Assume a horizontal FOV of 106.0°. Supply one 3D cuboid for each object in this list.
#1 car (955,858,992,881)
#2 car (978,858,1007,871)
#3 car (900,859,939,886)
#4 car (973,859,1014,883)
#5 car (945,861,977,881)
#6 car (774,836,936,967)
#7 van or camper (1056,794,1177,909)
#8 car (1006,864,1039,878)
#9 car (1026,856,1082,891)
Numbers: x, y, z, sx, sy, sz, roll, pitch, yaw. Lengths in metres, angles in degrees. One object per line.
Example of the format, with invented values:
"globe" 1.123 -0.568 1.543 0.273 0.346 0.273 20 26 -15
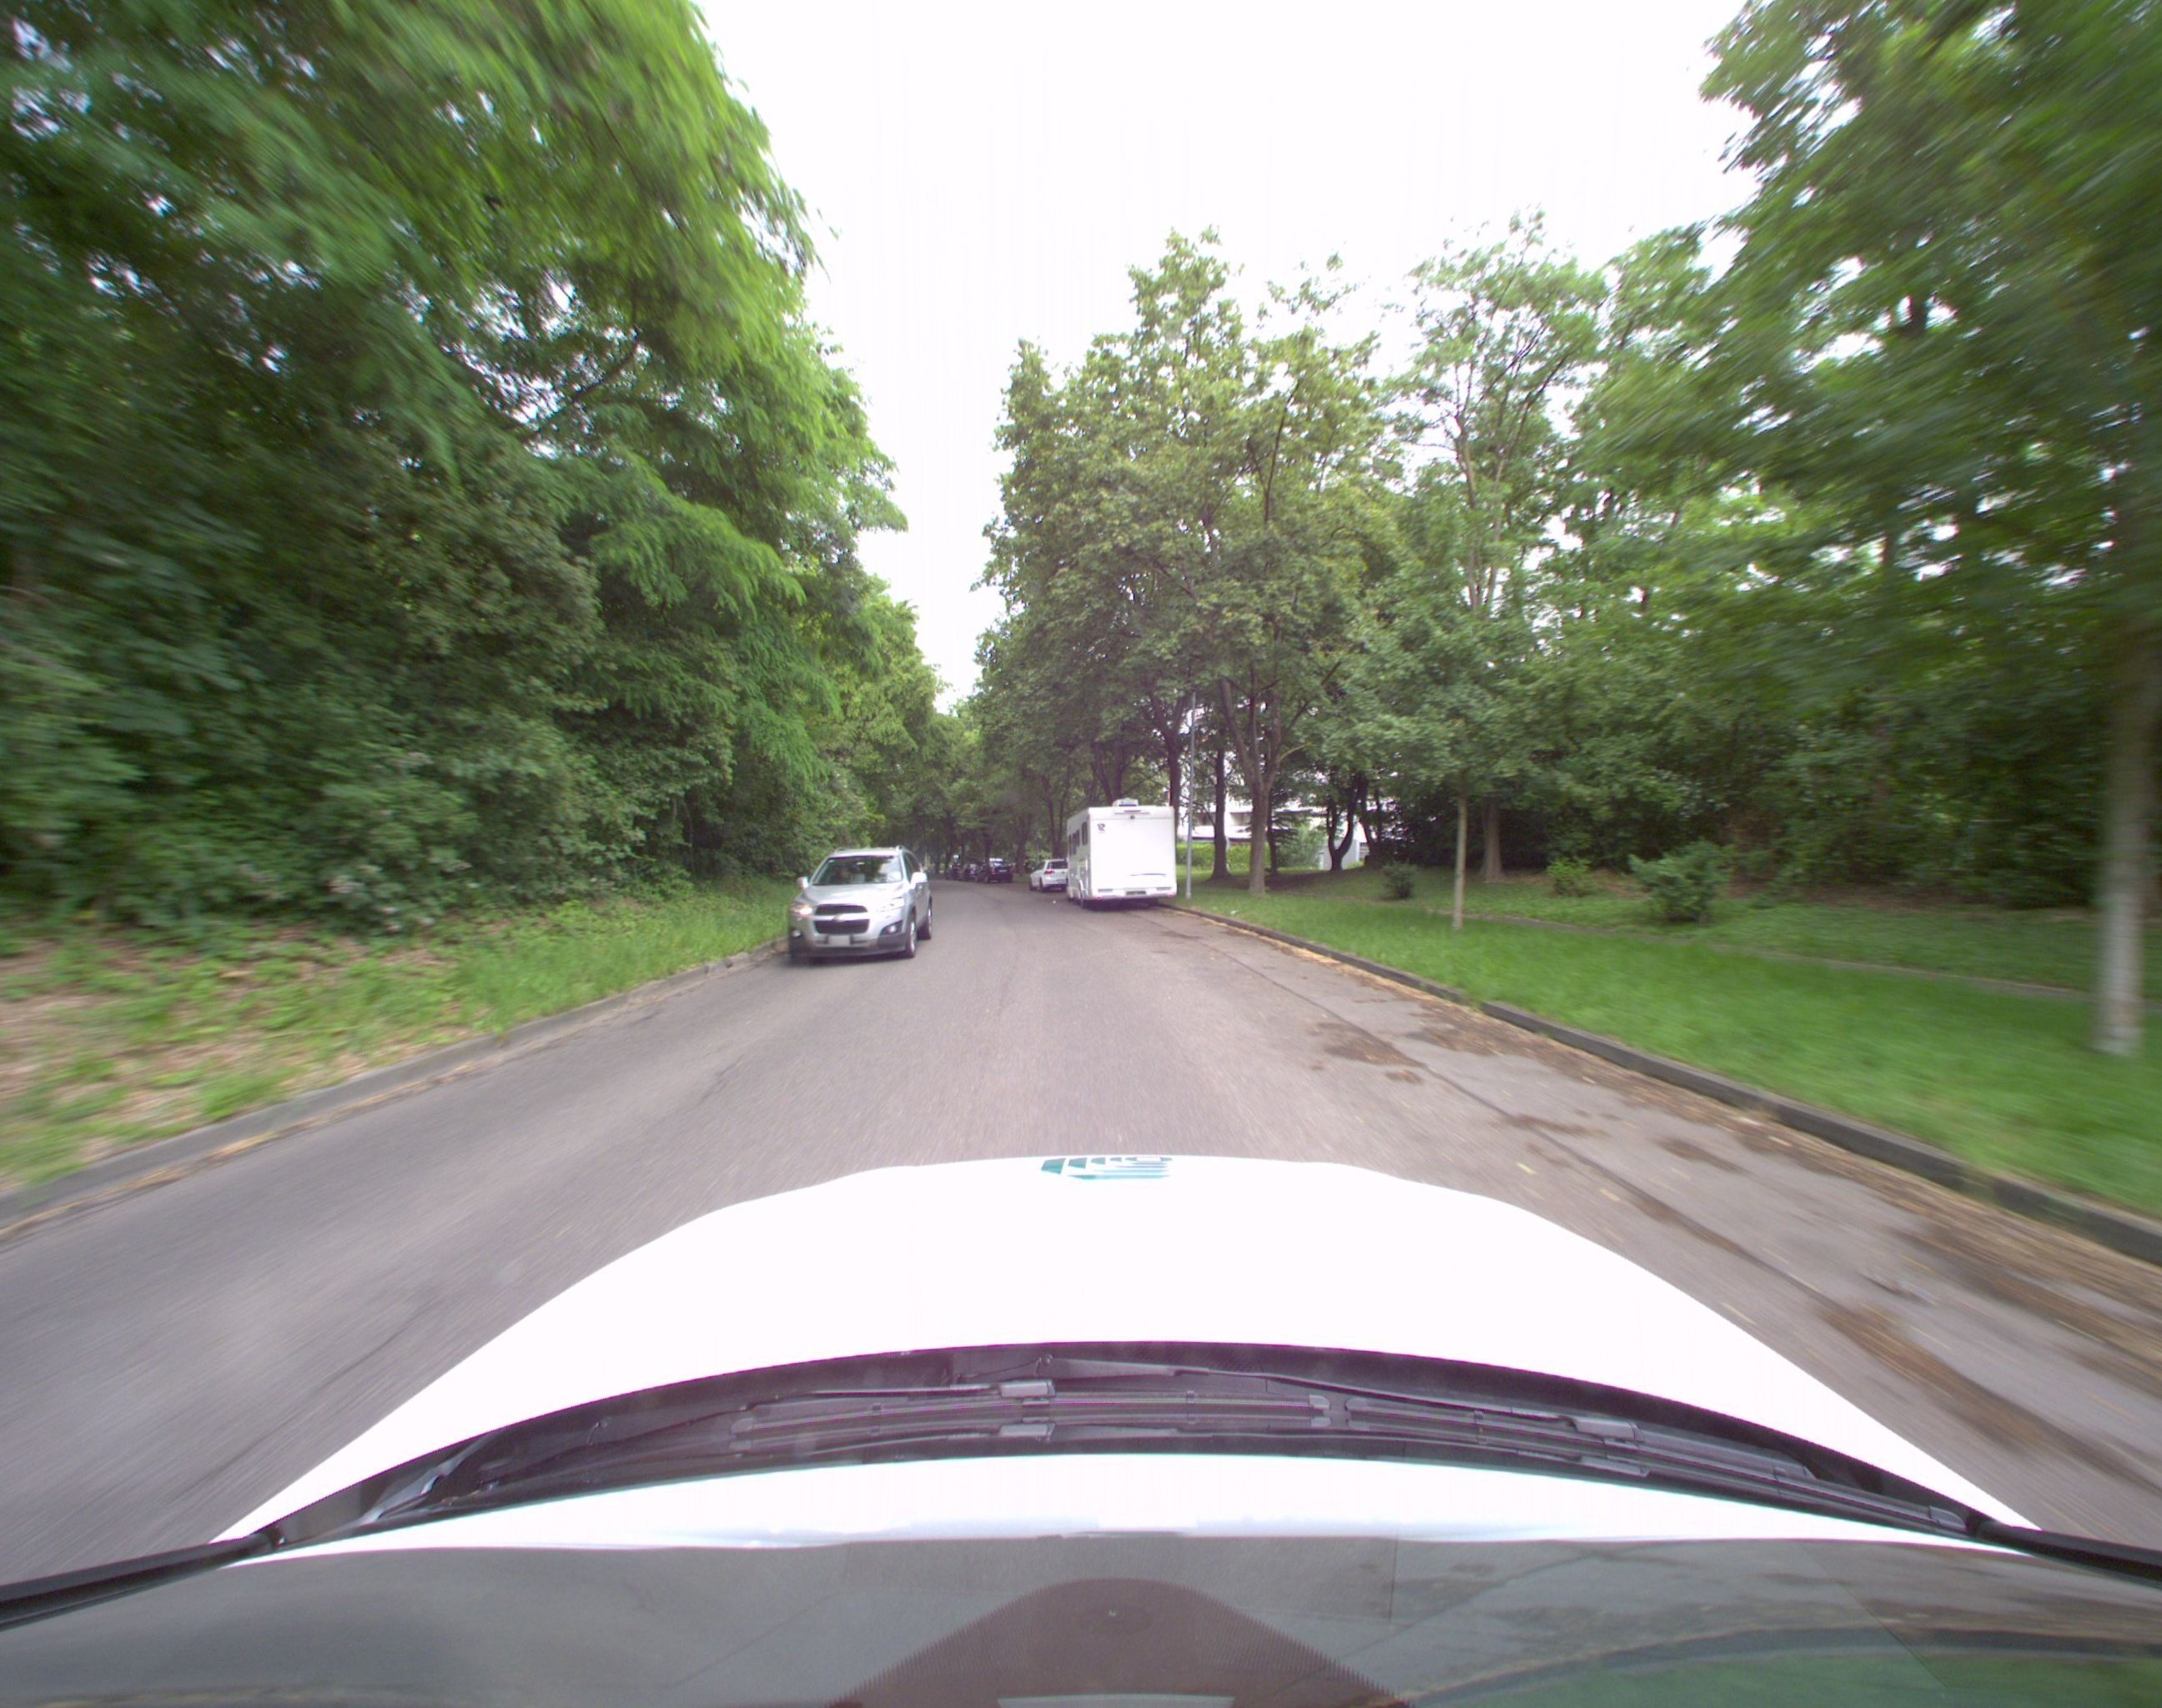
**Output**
"car" -7.845 1.093 59.269 1.918 1.612 4.707 0 -1 -17
"car" -14.502 1.675 133.551 4.225 2.014 1.984 0 -1 -24
"car" -9.407 1.072 47.724 1.791 1.508 3.993 0 -1 -5
"car" -5.781 1.062 53.315 1.595 1.465 4.285 0 0 -21
"car" -9.563 1.323 64.632 1.689 1.464 3.869 0 -1 -22
"car" -3.553 0.678 13.613 1.818 1.728 4.303 -3 0 -6
"van or camper" 0.829 -0.035 25.014 2.423 2.980 7.373 0 -1 -8
"car" -8.373 2.400 116.325 4.411 1.848 1.820 0 0 -20
"car" -1.290 0.857 36.926 1.691 1.482 4.086 0 -1 -14
